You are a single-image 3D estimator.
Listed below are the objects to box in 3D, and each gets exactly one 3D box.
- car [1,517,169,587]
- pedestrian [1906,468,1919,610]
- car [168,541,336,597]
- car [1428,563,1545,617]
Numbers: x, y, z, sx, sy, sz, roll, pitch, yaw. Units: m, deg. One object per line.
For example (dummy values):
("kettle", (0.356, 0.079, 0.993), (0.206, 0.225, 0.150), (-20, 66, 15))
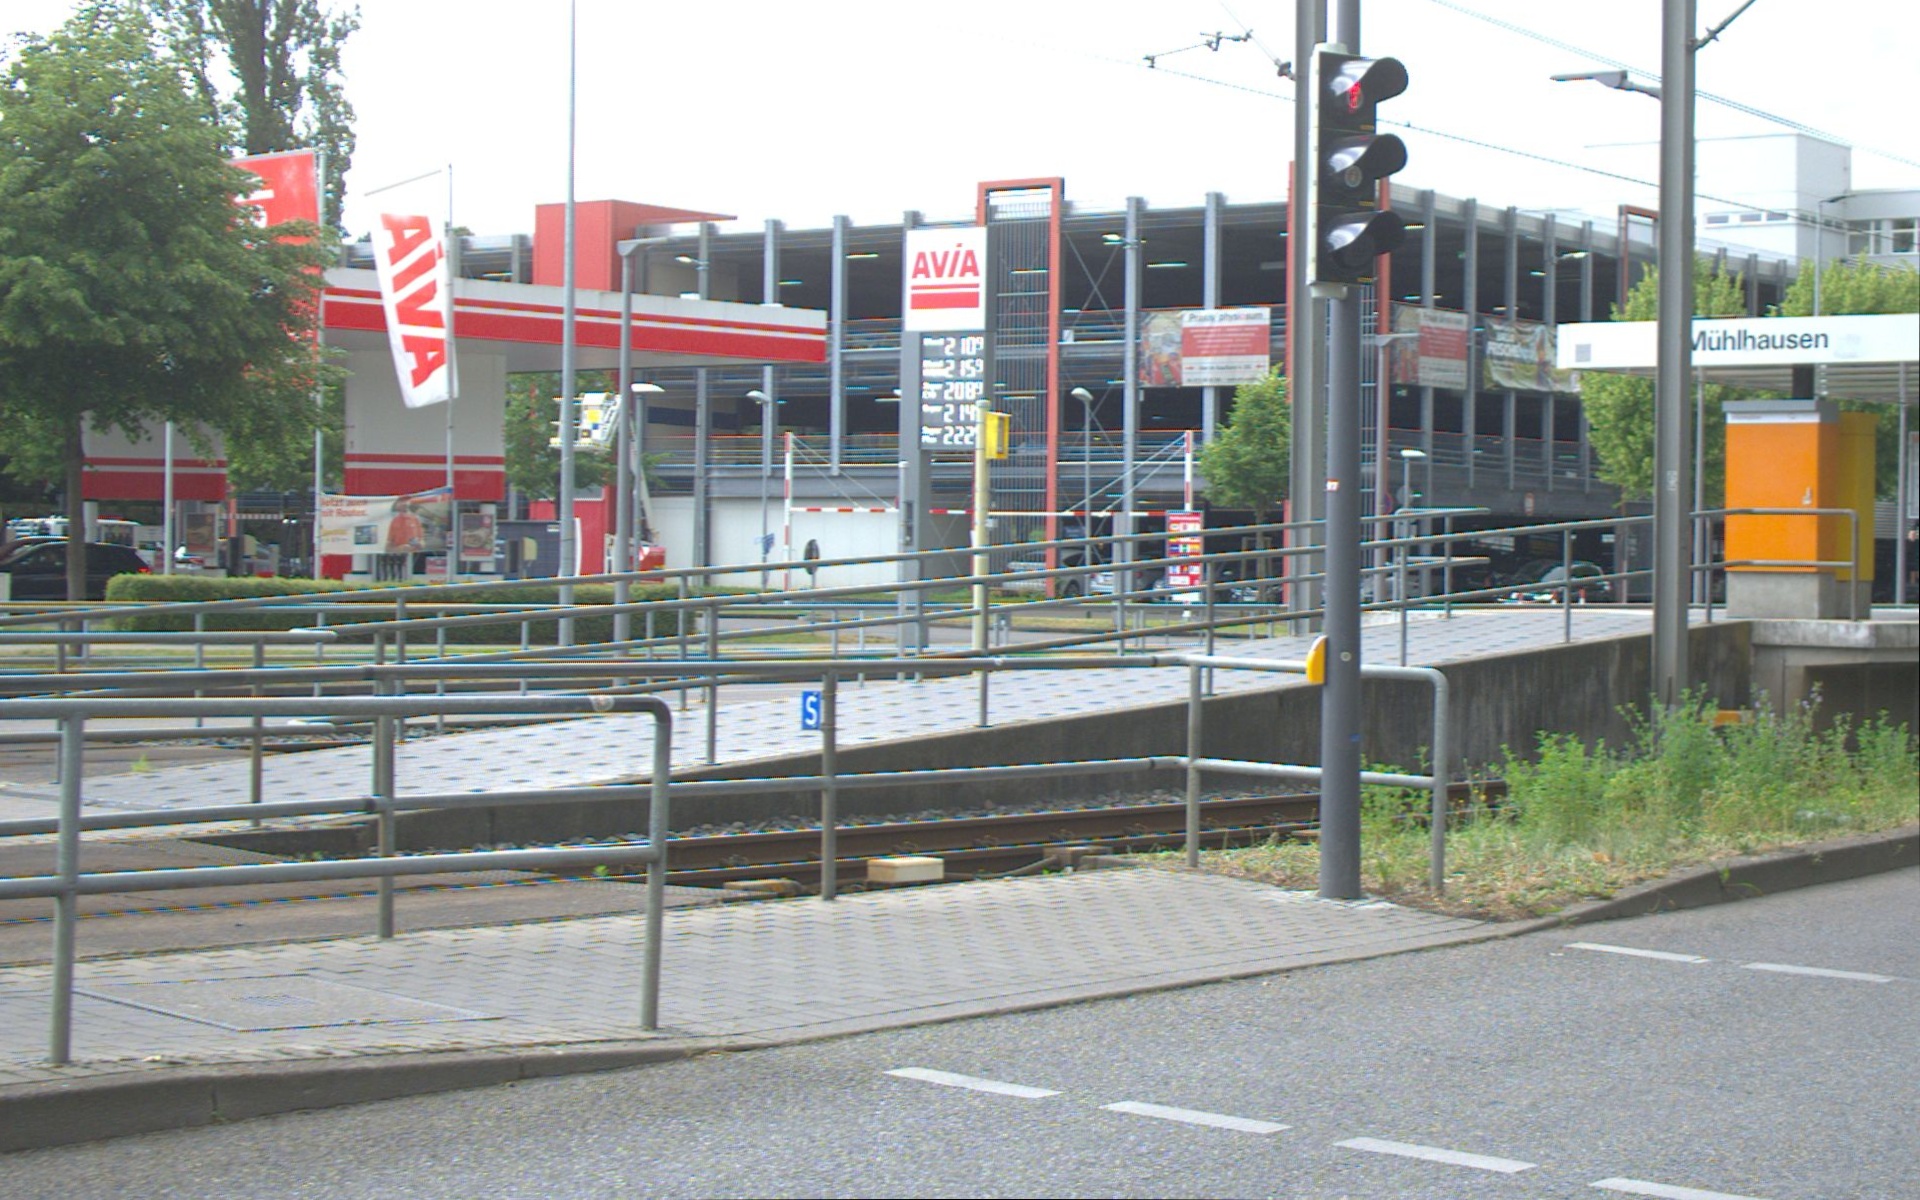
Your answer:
("car", (-23.316, -1.260, 91.715), (1.913, 1.746, 4.050), (0, -1, 35))
("pedestrian", (11.160, -0.691, 39.140), (0.571, 1.615, 0.584), (0, -1, 36))
("car", (-18.320, -0.787, 89.107), (1.913, 1.361, 4.050), (0, -1, 35))
("car", (15.513, -0.280, 101.172), (1.780, 1.534, 3.991), (0, 0, 36))
